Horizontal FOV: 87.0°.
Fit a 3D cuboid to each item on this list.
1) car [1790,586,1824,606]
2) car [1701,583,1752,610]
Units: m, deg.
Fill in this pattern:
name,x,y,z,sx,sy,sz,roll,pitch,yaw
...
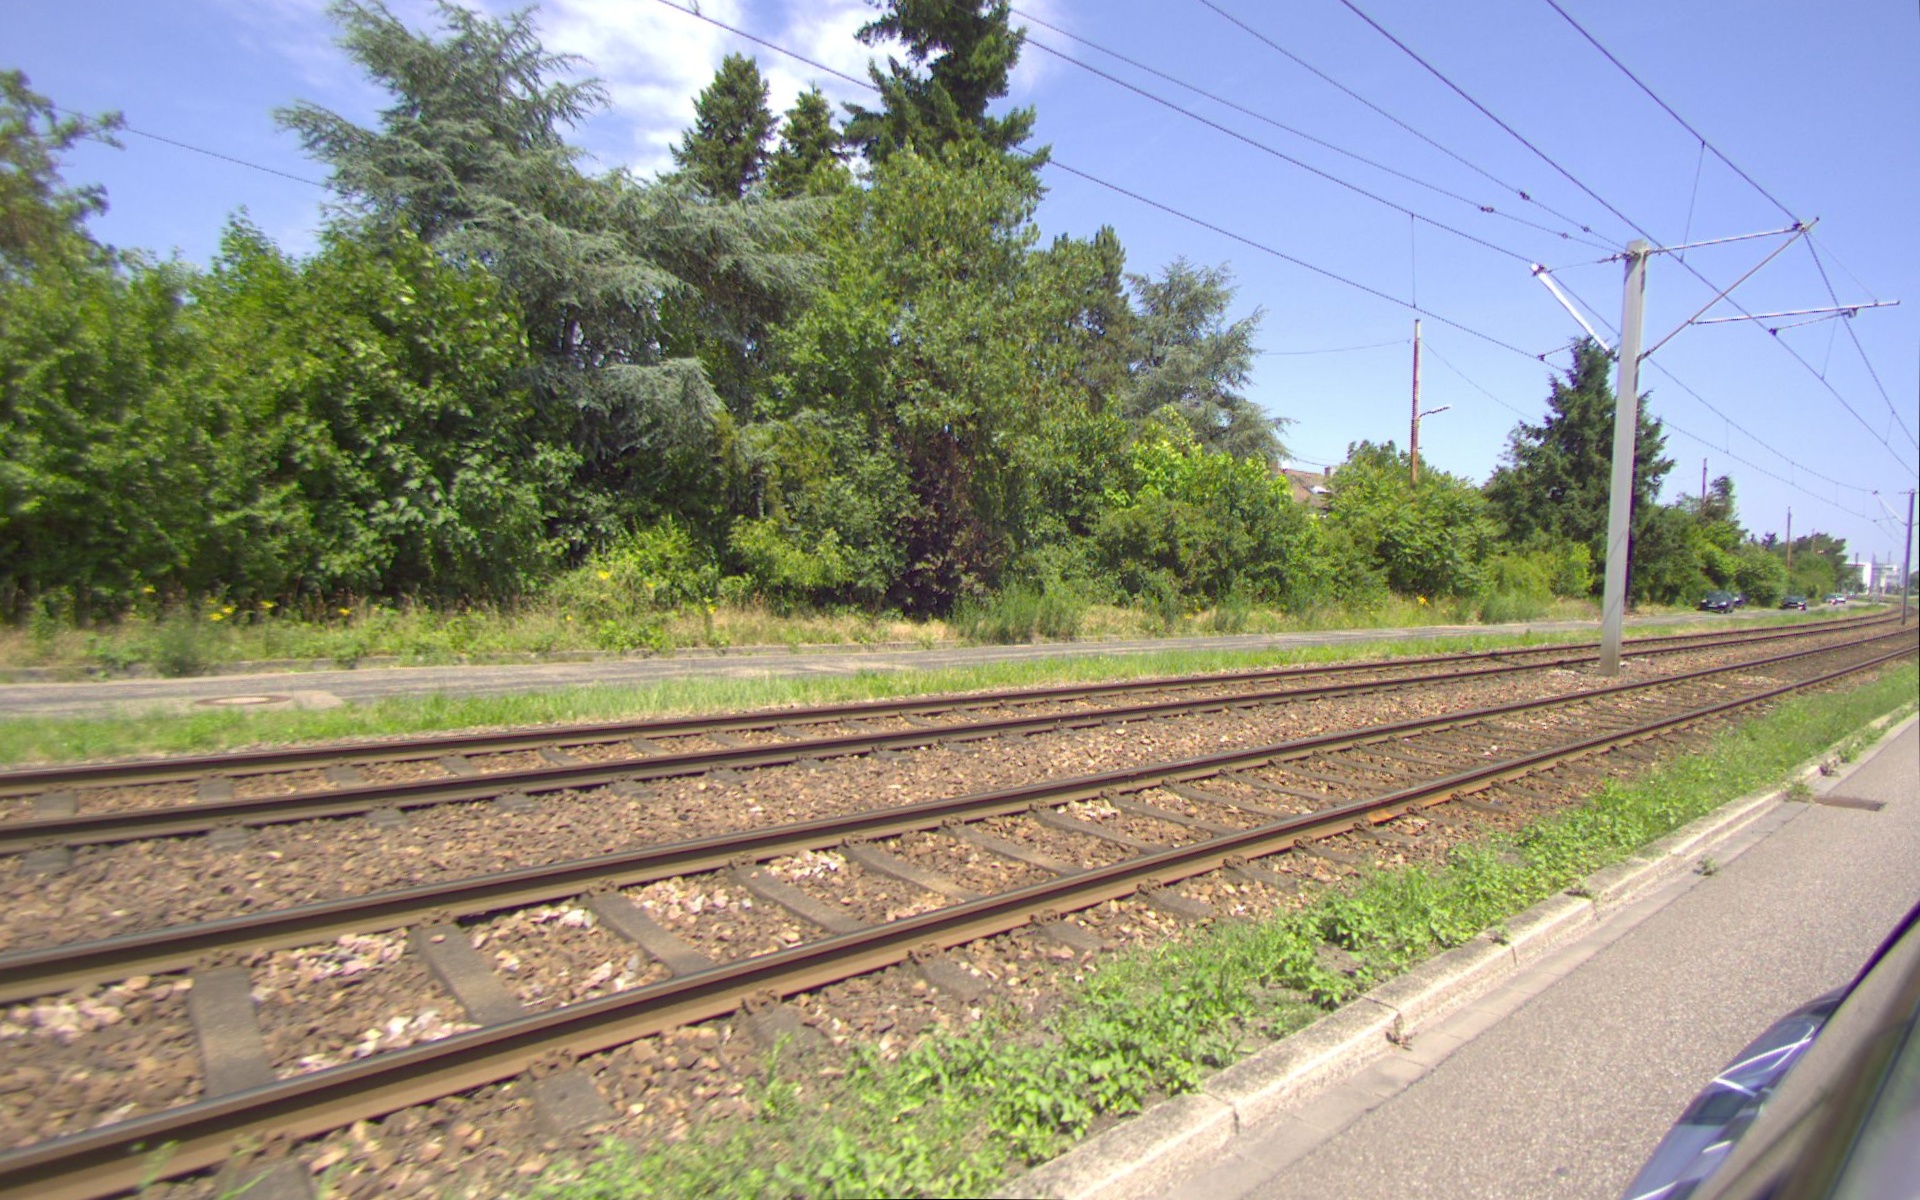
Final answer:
name,x,y,z,sx,sy,sz,roll,pitch,yaw
car,75.650,-0.379,90.391,3.934,1.716,1.942,-1,0,-44
car,52.248,-0.250,68.927,3.930,1.742,1.997,-1,0,-41
